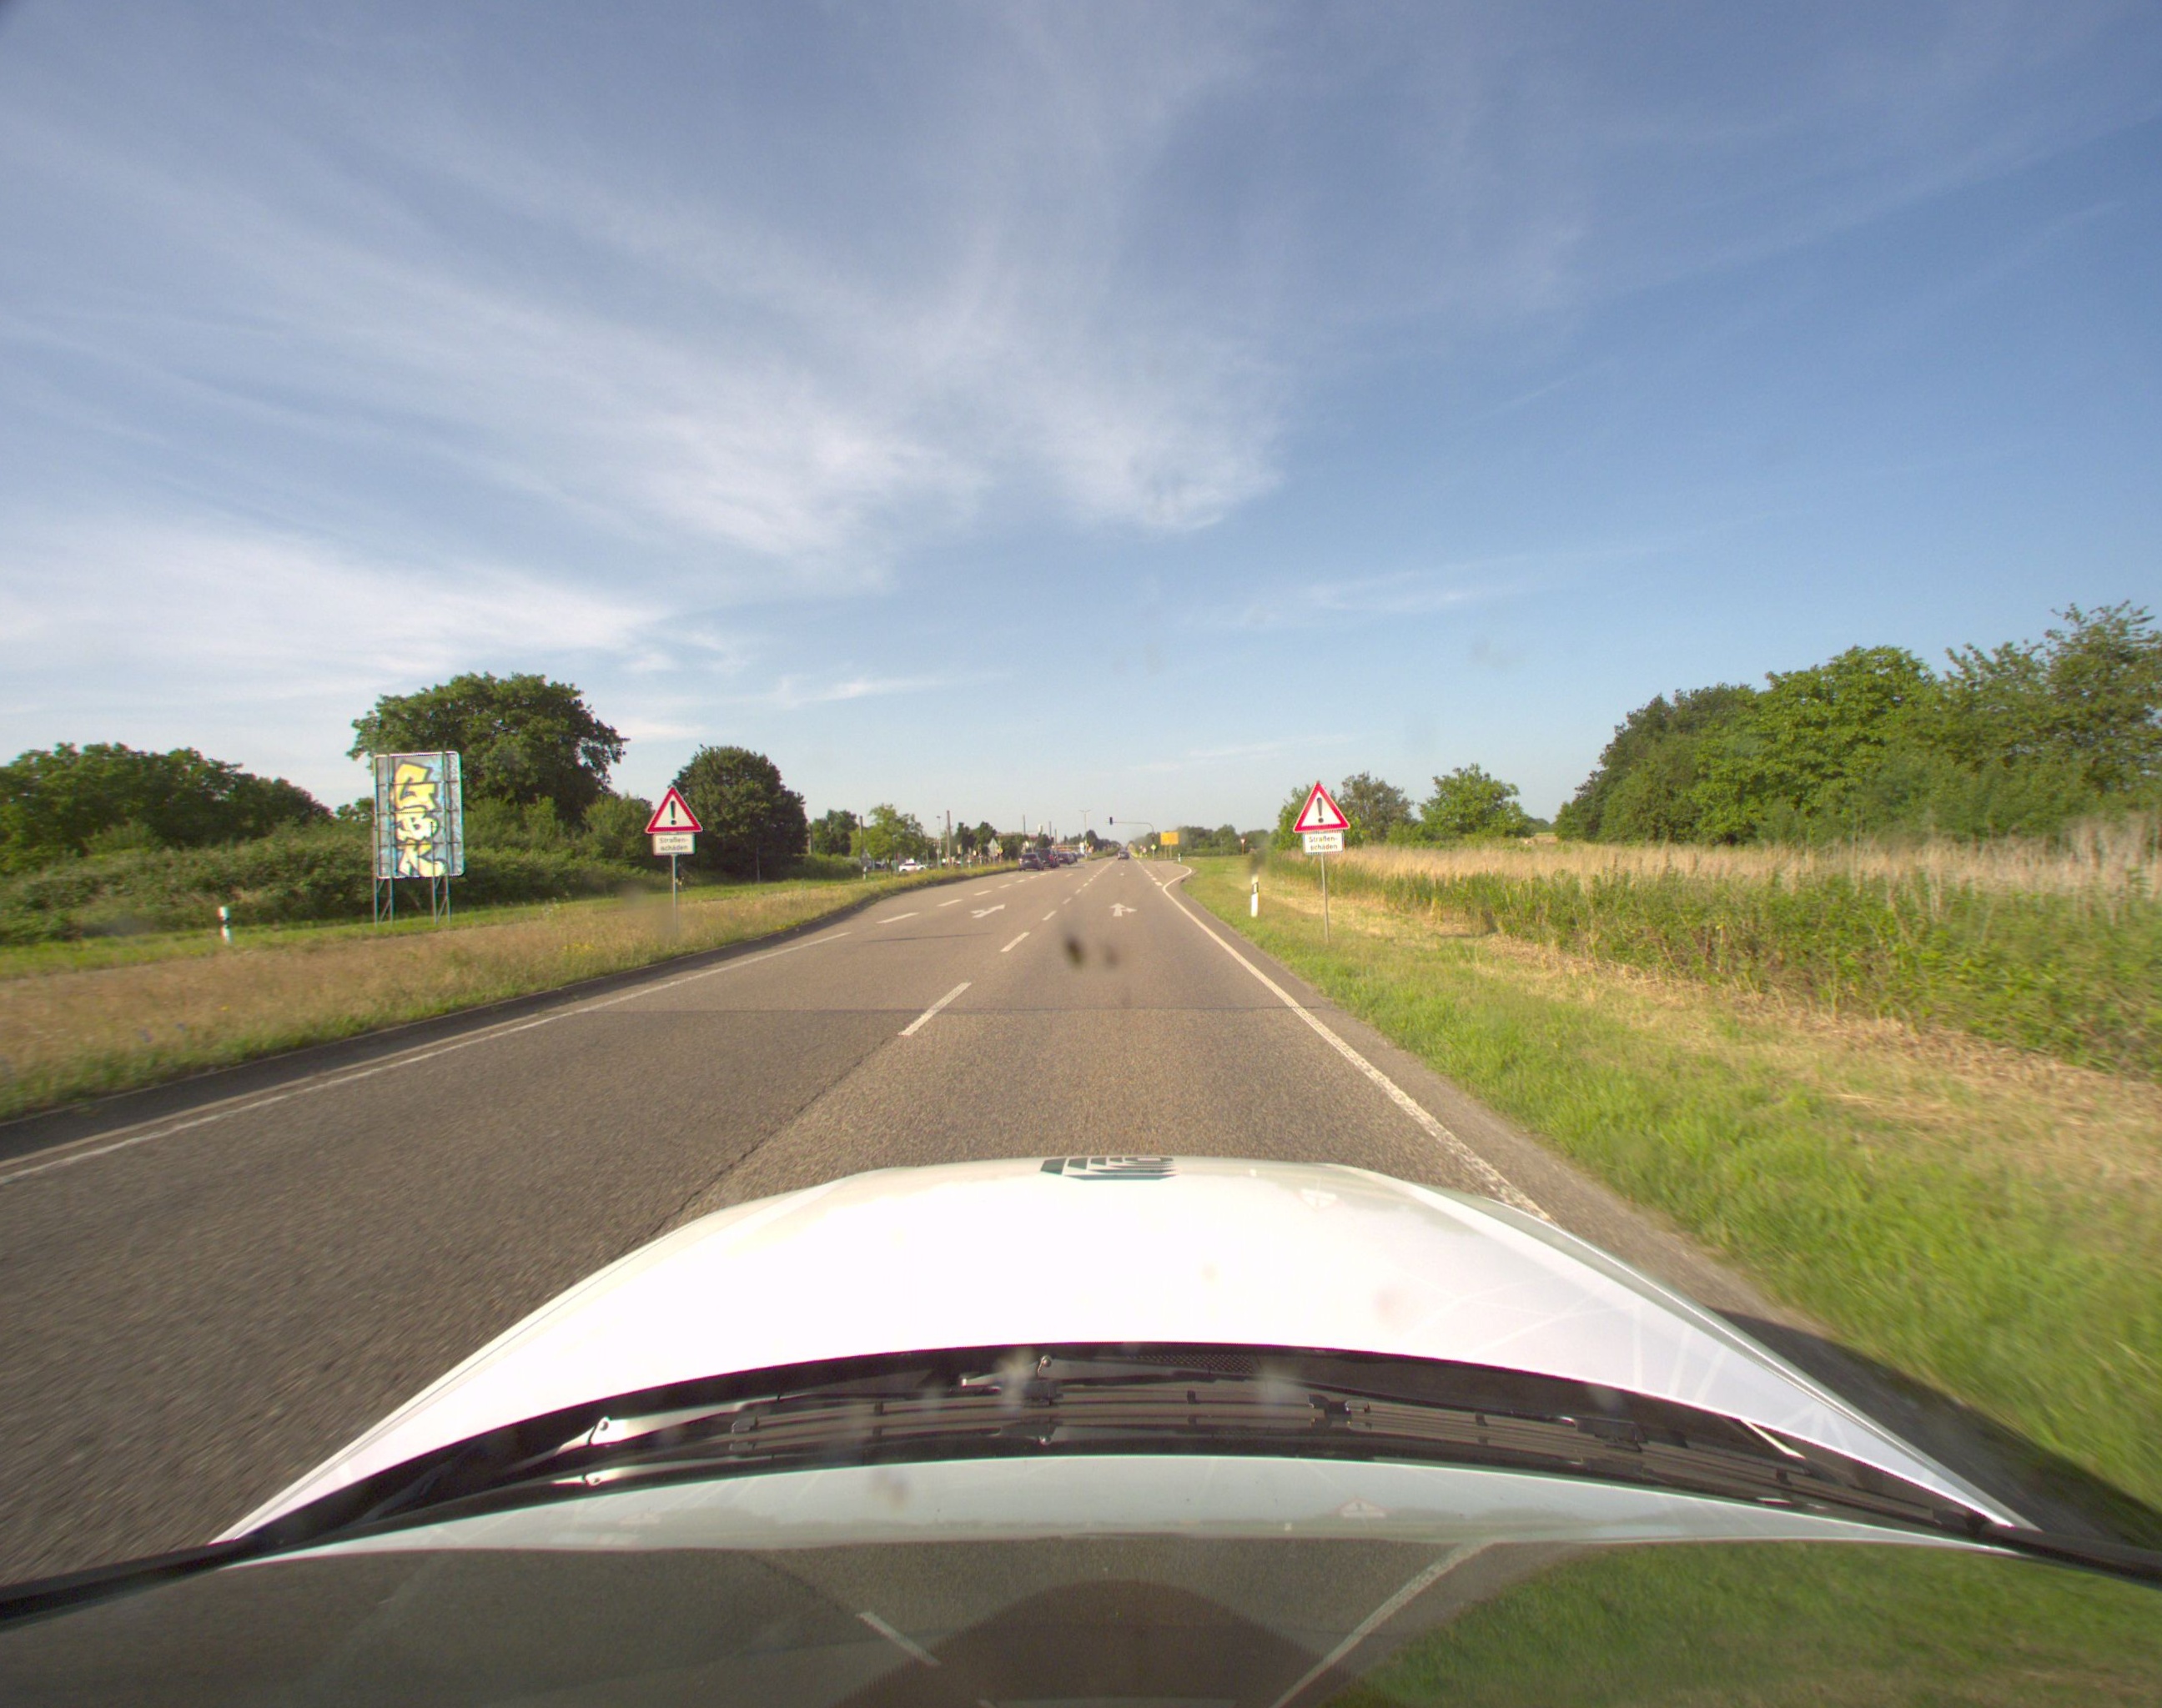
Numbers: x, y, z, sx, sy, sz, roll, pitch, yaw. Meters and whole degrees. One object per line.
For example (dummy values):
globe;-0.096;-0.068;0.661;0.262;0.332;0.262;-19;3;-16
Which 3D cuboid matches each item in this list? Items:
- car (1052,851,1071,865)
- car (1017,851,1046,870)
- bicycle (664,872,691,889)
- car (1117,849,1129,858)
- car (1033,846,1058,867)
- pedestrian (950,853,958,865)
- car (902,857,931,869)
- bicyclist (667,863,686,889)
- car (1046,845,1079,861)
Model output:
car;-2.219;0.425;95.035;1.762;1.471;4.019;-2;0;4
car;-4.048;0.475;67.070;1.724;1.456;4.525;-2;0;4
bicycle;-22.200;1.462;44.845;0.527;0.878;1.706;-2;0;3
car;7.576;-0.046;147.284;1.985;1.552;4.004;-2;0;4
car;-3.178;0.206;74.278;1.724;1.855;4.525;-2;0;4
pedestrian;-17.491;0.676;112.145;0.913;1.706;1.066;0;-1;-3
car;-23.810;1.344;118.176;3.986;1.662;1.881;0;-1;-9
bicyclist;-22.213;1.211;44.716;0.465;1.389;1.048;-2;0;3
car;-2.717;-0.103;117.409;2.011;2.014;4.777;0;-2;-42
